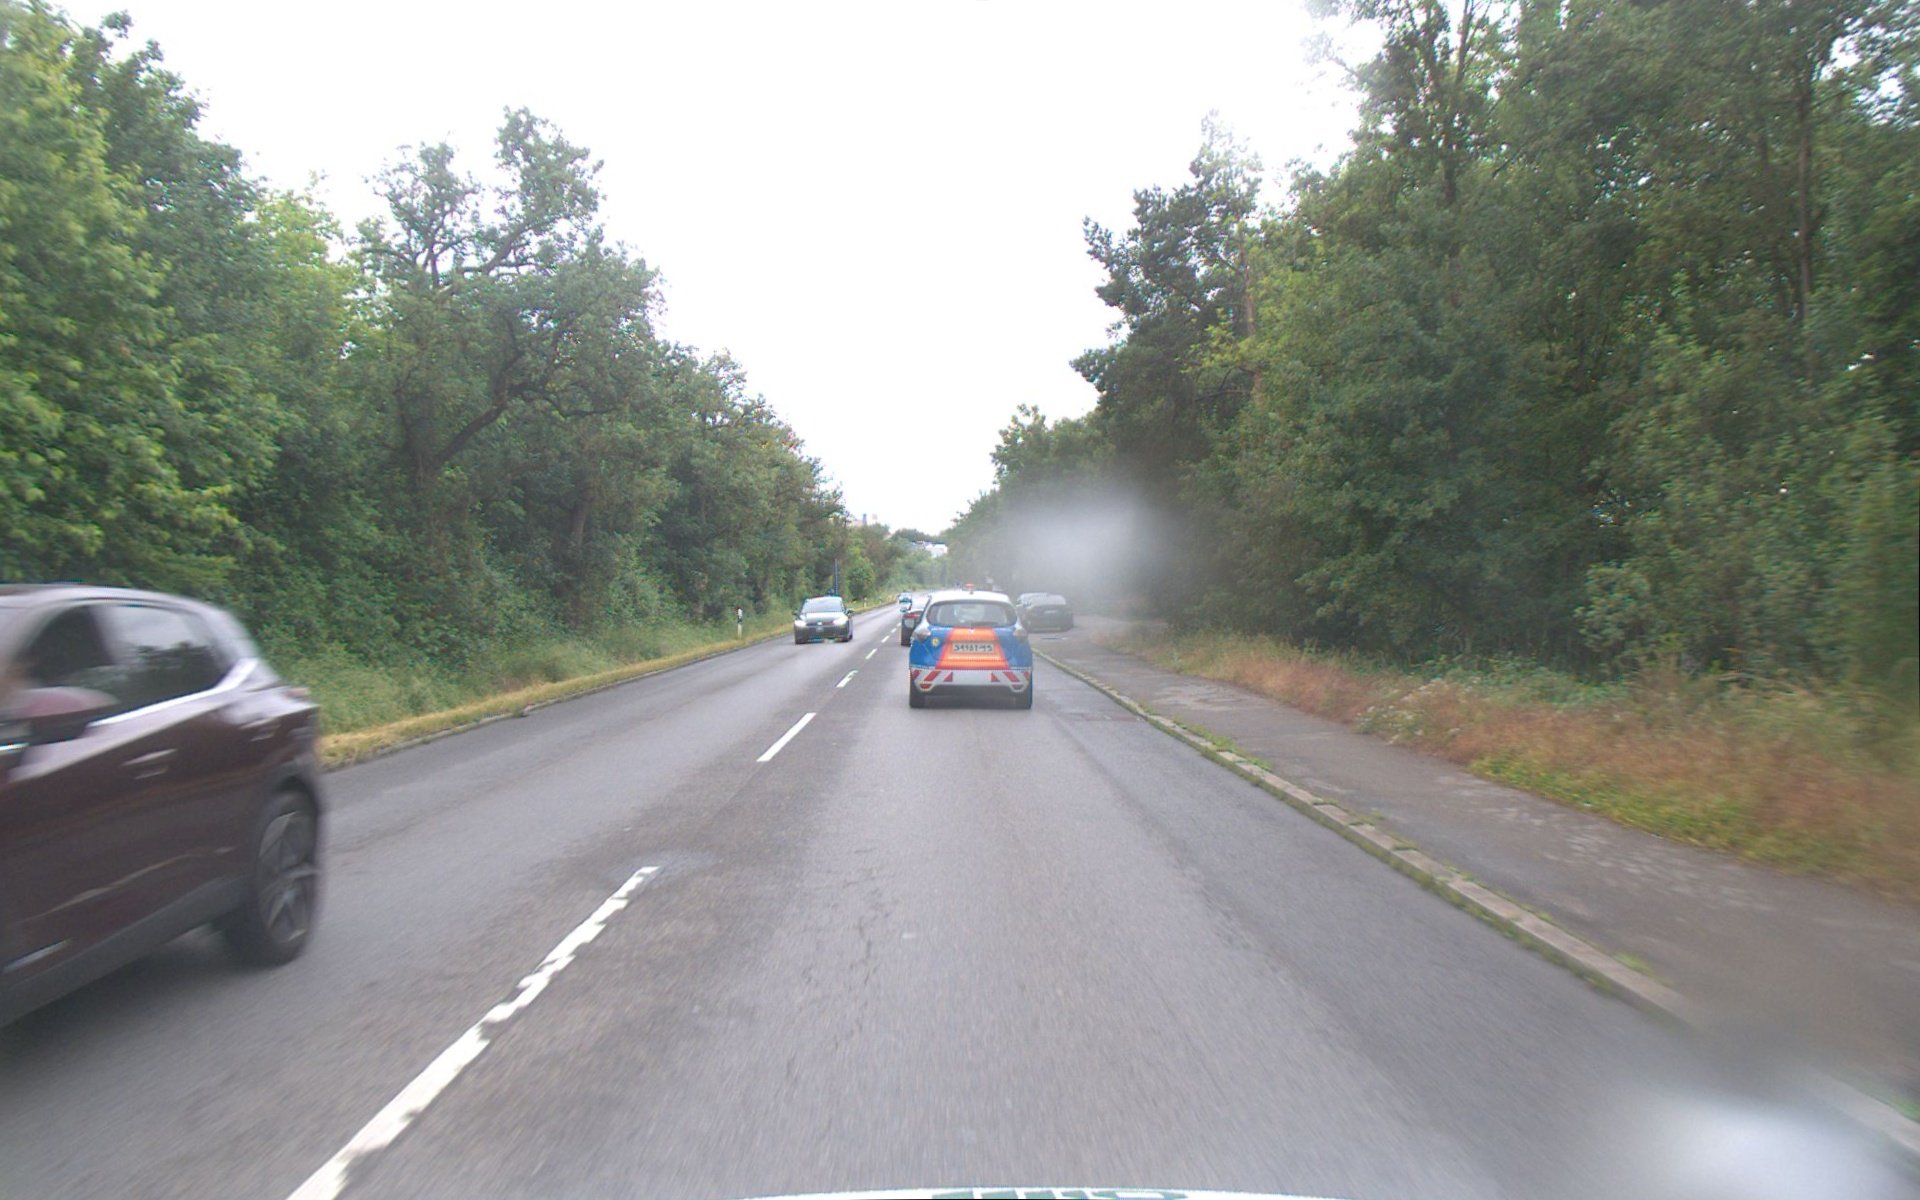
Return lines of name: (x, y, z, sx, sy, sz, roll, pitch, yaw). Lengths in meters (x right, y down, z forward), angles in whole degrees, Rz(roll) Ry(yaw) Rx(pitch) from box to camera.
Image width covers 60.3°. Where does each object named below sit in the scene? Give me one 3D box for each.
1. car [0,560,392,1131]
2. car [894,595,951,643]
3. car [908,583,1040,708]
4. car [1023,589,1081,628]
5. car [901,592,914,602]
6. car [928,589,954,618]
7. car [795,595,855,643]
car: (-3.627, 0.695, 5.626, 1.867, 1.584, 4.515, -1, 0, -1)
car: (-1.058, 0.530, 48.406, 1.566, 1.309, 3.476, -1, 0, 0)
car: (0.151, 0.585, 23.575, 1.716, 1.582, 3.792, 1, 1, -1)
car: (3.452, 0.295, 62.778, 1.953, 1.400, 4.000, -1, 0, 0)
car: (-7.651, -0.380, 239.136, 1.847, 1.411, 3.998, 0, 0, -3)
car: (-1.306, 0.213, 112.031, 1.708, 1.915, 3.998, 0, 0, -2)
car: (-4.377, 0.595, 54.105, 1.676, 1.423, 4.149, -3, 0, -1)
